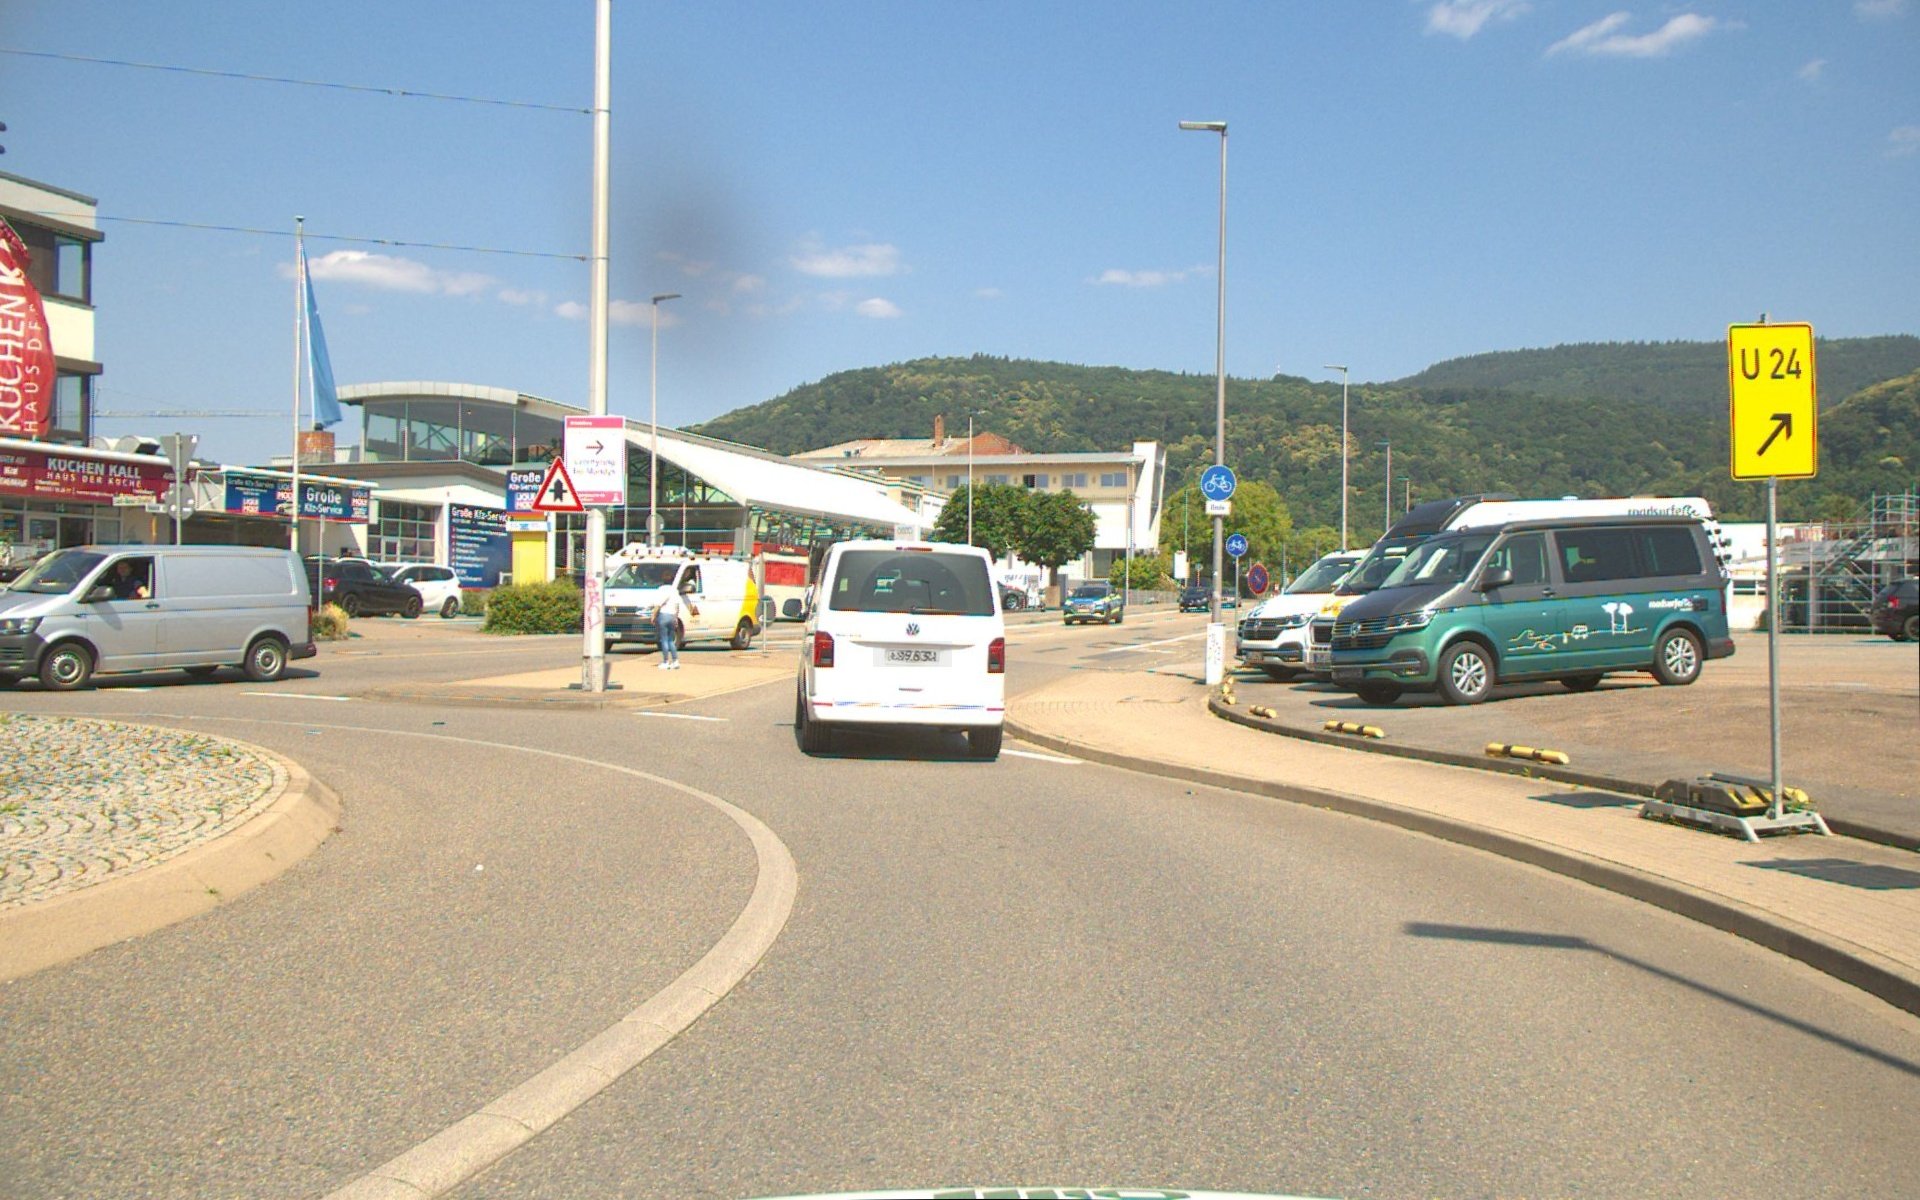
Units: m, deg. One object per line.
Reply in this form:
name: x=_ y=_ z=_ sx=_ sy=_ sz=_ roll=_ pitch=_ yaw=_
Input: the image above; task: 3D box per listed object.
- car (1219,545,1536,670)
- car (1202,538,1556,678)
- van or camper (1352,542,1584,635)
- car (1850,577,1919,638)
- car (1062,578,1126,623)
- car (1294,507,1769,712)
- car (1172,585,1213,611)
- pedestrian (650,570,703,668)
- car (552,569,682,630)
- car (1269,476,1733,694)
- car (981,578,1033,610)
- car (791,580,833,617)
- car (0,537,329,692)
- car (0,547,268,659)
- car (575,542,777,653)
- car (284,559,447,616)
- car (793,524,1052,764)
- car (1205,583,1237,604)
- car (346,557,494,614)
car: x=7.232 y=0.100 z=28.788 sx=5.044 sy=2.049 sz=1.924 roll=-1 pitch=0 yaw=-13
car: x=6.493 y=0.115 z=25.745 sx=5.060 sy=2.035 sz=2.016 roll=0 pitch=0 yaw=-17
van or camper: x=15.031 y=-0.362 z=49.067 sx=6.368 sy=2.606 sz=2.975 roll=1 pitch=0 yaw=19
car: x=25.527 y=0.189 z=43.013 sx=3.903 sy=1.545 sz=1.892 roll=0 pitch=1 yaw=18
car: x=5.580 y=-0.021 z=68.453 sx=1.868 sy=1.791 sz=4.455 roll=0 pitch=1 yaw=15
car: x=6.653 y=0.086 z=19.272 sx=5.135 sy=2.150 sz=2.084 roll=0 pitch=1 yaw=-21
car: x=13.677 y=-0.139 z=97.083 sx=1.802 sy=1.489 sz=4.003 roll=0 pitch=1 yaw=16
pedestrian: x=-4.939 y=0.326 z=28.812 sx=0.749 sy=1.685 sz=0.668 roll=1 pitch=0 yaw=-24
car: x=-9.653 y=-0.030 z=46.862 sx=1.951 sy=1.646 sz=4.003 roll=0 pitch=1 yaw=16
car: x=7.550 y=-0.208 z=23.121 sx=6.044 sy=2.764 sz=2.294 roll=0 pitch=1 yaw=-19
car: x=2.441 y=-0.333 z=87.169 sx=1.717 sy=1.612 sz=3.645 roll=1 pitch=0 yaw=-16
car: x=-6.677 y=-0.085 z=74.951 sx=1.710 sy=1.612 sz=3.659 roll=1 pitch=0 yaw=-3
car: x=-11.680 y=0.176 z=23.675 sx=1.891 sy=1.969 sz=4.819 roll=1 pitch=0 yaw=30
car: x=-16.291 y=0.037 z=32.436 sx=1.919 sy=2.000 sz=5.282 roll=1 pitch=0 yaw=20
car: x=-5.889 y=-0.090 z=34.972 sx=1.980 sy=2.151 sz=4.935 roll=1 pitch=1 yaw=20
car: x=-15.841 y=-0.344 z=44.333 sx=1.983 sy=1.452 sz=4.320 roll=0 pitch=1 yaw=16
car: x=-0.571 y=0.360 z=17.030 sx=2.121 sy=2.049 sz=5.010 roll=2 pitch=1 yaw=-7
car: x=18.362 y=-0.473 z=116.307 sx=1.802 sy=1.489 sz=4.003 roll=0 pitch=1 yaw=15
car: x=-16.420 y=-0.426 z=50.596 sx=1.840 sy=1.616 sz=4.931 roll=-1 pitch=0 yaw=16
